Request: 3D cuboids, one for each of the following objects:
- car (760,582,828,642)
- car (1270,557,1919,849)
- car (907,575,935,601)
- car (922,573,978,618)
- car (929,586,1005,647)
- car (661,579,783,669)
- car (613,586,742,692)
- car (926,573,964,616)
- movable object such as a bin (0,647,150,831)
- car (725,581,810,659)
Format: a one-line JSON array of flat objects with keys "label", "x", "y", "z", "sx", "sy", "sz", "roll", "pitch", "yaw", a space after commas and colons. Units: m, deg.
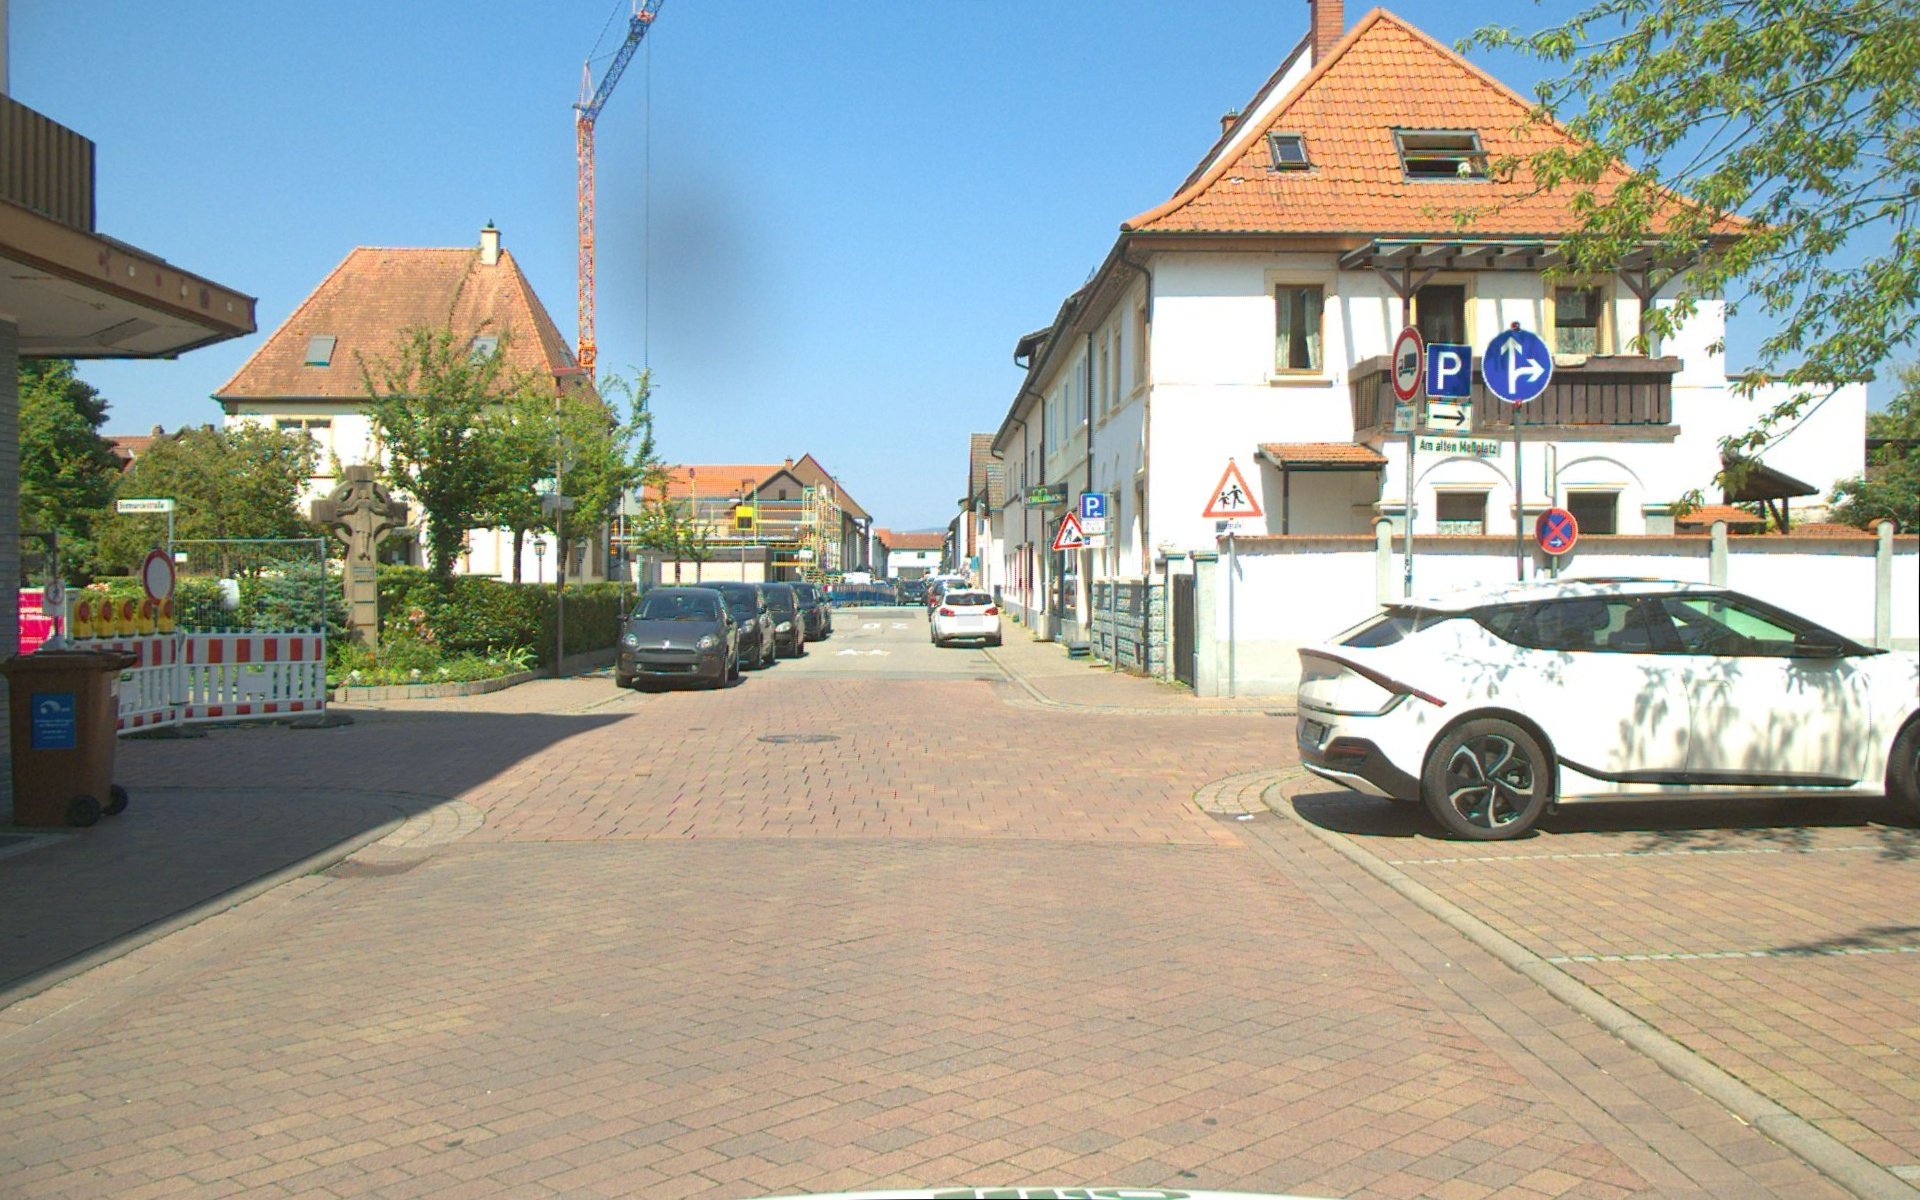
[{"label": "car", "x": -4.806, "y": 0.314, "z": 48.376, "sx": 1.790, "sy": 1.659, "sz": 4.215, "roll": 0, "pitch": 1, "yaw": -3}, {"label": "car", "x": 4.392, "y": 0.587, "z": 10.771, "sx": 4.351, "sy": 1.603, "sz": 1.788, "roll": -2, "pitch": 1, "yaw": -2}, {"label": "car", "x": -2.639, "y": -0.832, "z": 111.154, "sx": 1.844, "sy": 1.697, "sz": 4.152, "roll": 0, "pitch": 1, "yaw": -2}, {"label": "car", "x": -0.437, "y": -0.215, "z": 64.660, "sx": 1.848, "sy": 1.583, "sz": 3.891, "roll": -4, "pitch": 1, "yaw": -4}, {"label": "car", "x": 0.240, "y": 0.408, "z": 44.894, "sx": 1.847, "sy": 1.569, "sz": 4.244, "roll": 0, "pitch": 1, "yaw": 3}, {"label": "car", "x": -4.525, "y": 0.407, "z": 31.926, "sx": 1.778, "sy": 1.633, "sz": 4.024, "roll": 0, "pitch": 1, "yaw": 0}, {"label": "car", "x": -4.374, "y": 0.549, "z": 26.070, "sx": 1.669, "sy": 1.523, "sz": 3.853, "roll": 0, "pitch": 1, "yaw": -5}, {"label": "car", "x": -0.642, "y": -0.256, "z": 69.837, "sx": 1.532, "sy": 1.641, "sz": 3.542, "roll": 0, "pitch": 3, "yaw": -2}, {"label": "movable object such as a bin", "x": -5.552, "y": 0.855, "z": 10.385, "sx": 0.642, "sy": 1.089, "sz": 0.663, "roll": 1, "pitch": 0, "yaw": -7}, {"label": "car", "x": -4.320, "y": 0.417, "z": 37.606, "sx": 1.604, "sy": 1.657, "sz": 3.767, "roll": 0, "pitch": 1, "yaw": -2}]
